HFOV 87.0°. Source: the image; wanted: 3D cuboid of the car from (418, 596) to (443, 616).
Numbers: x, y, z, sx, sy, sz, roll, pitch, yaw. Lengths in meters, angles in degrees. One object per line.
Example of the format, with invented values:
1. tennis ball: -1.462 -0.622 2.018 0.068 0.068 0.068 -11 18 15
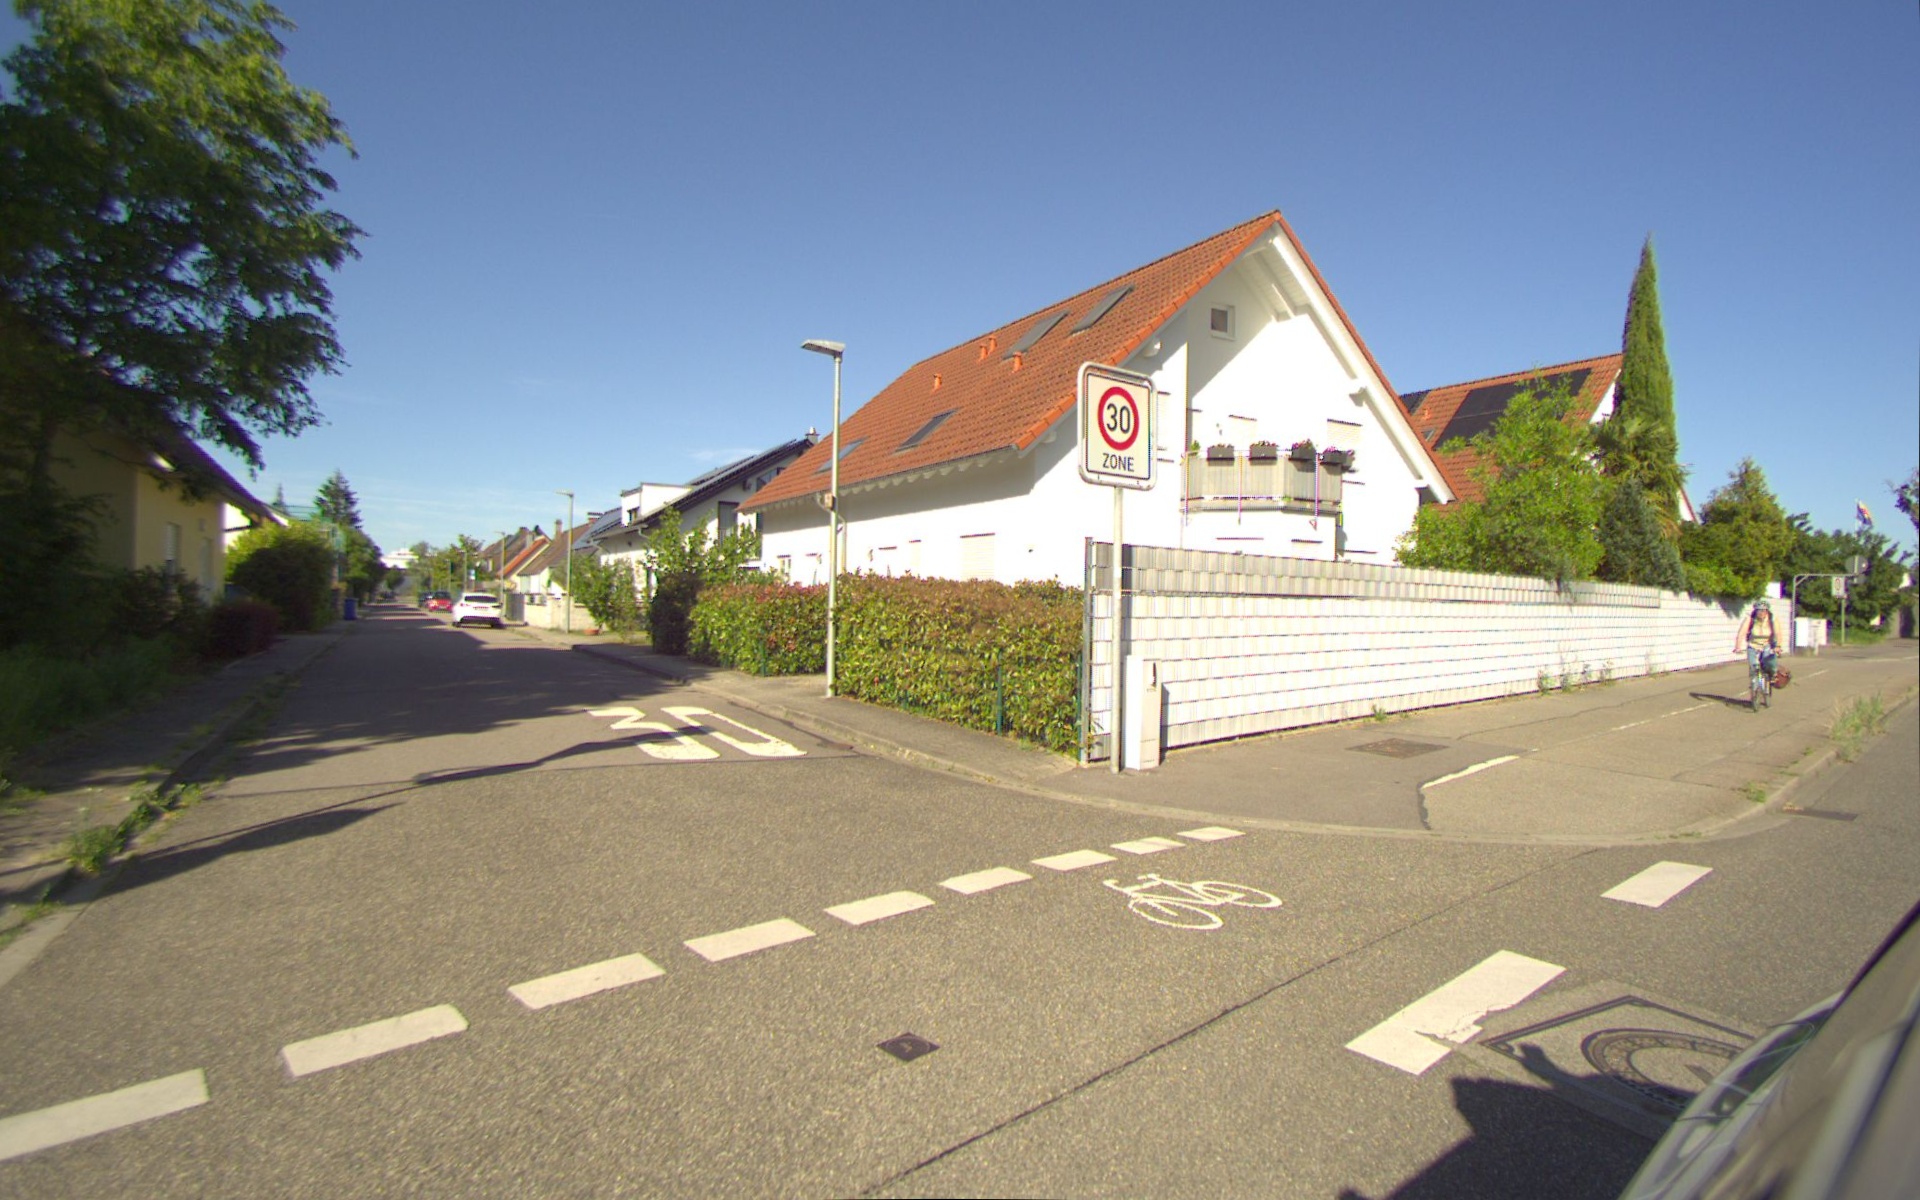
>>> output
1. car: -47.789 0.580 91.337 1.772 1.649 4.005 -1 -2 -25

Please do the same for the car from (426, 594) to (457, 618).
1. car: -38.253 0.473 74.723 1.772 1.649 4.005 -1 -2 -25

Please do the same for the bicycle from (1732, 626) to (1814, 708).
1. bicycle: 12.845 1.025 15.968 2.102 1.169 0.575 1 2 -40

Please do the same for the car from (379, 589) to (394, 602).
1. car: -97.554 -0.727 172.050 1.959 2.040 4.004 -1 -2 -26

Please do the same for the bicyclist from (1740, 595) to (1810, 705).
1. bicyclist: 12.873 0.771 15.985 0.964 1.653 0.631 1 2 -40

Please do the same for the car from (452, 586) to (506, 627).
1. car: -20.041 0.302 42.287 1.900 1.538 4.234 -1 -2 -24

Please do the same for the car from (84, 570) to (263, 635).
1. car: -21.743 0.073 28.168 3.703 1.672 1.896 -1 -2 -31

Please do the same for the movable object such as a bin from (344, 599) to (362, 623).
1. movable object such as a bin: -29.142 0.520 48.603 0.650 1.130 0.595 0 -2 -41
